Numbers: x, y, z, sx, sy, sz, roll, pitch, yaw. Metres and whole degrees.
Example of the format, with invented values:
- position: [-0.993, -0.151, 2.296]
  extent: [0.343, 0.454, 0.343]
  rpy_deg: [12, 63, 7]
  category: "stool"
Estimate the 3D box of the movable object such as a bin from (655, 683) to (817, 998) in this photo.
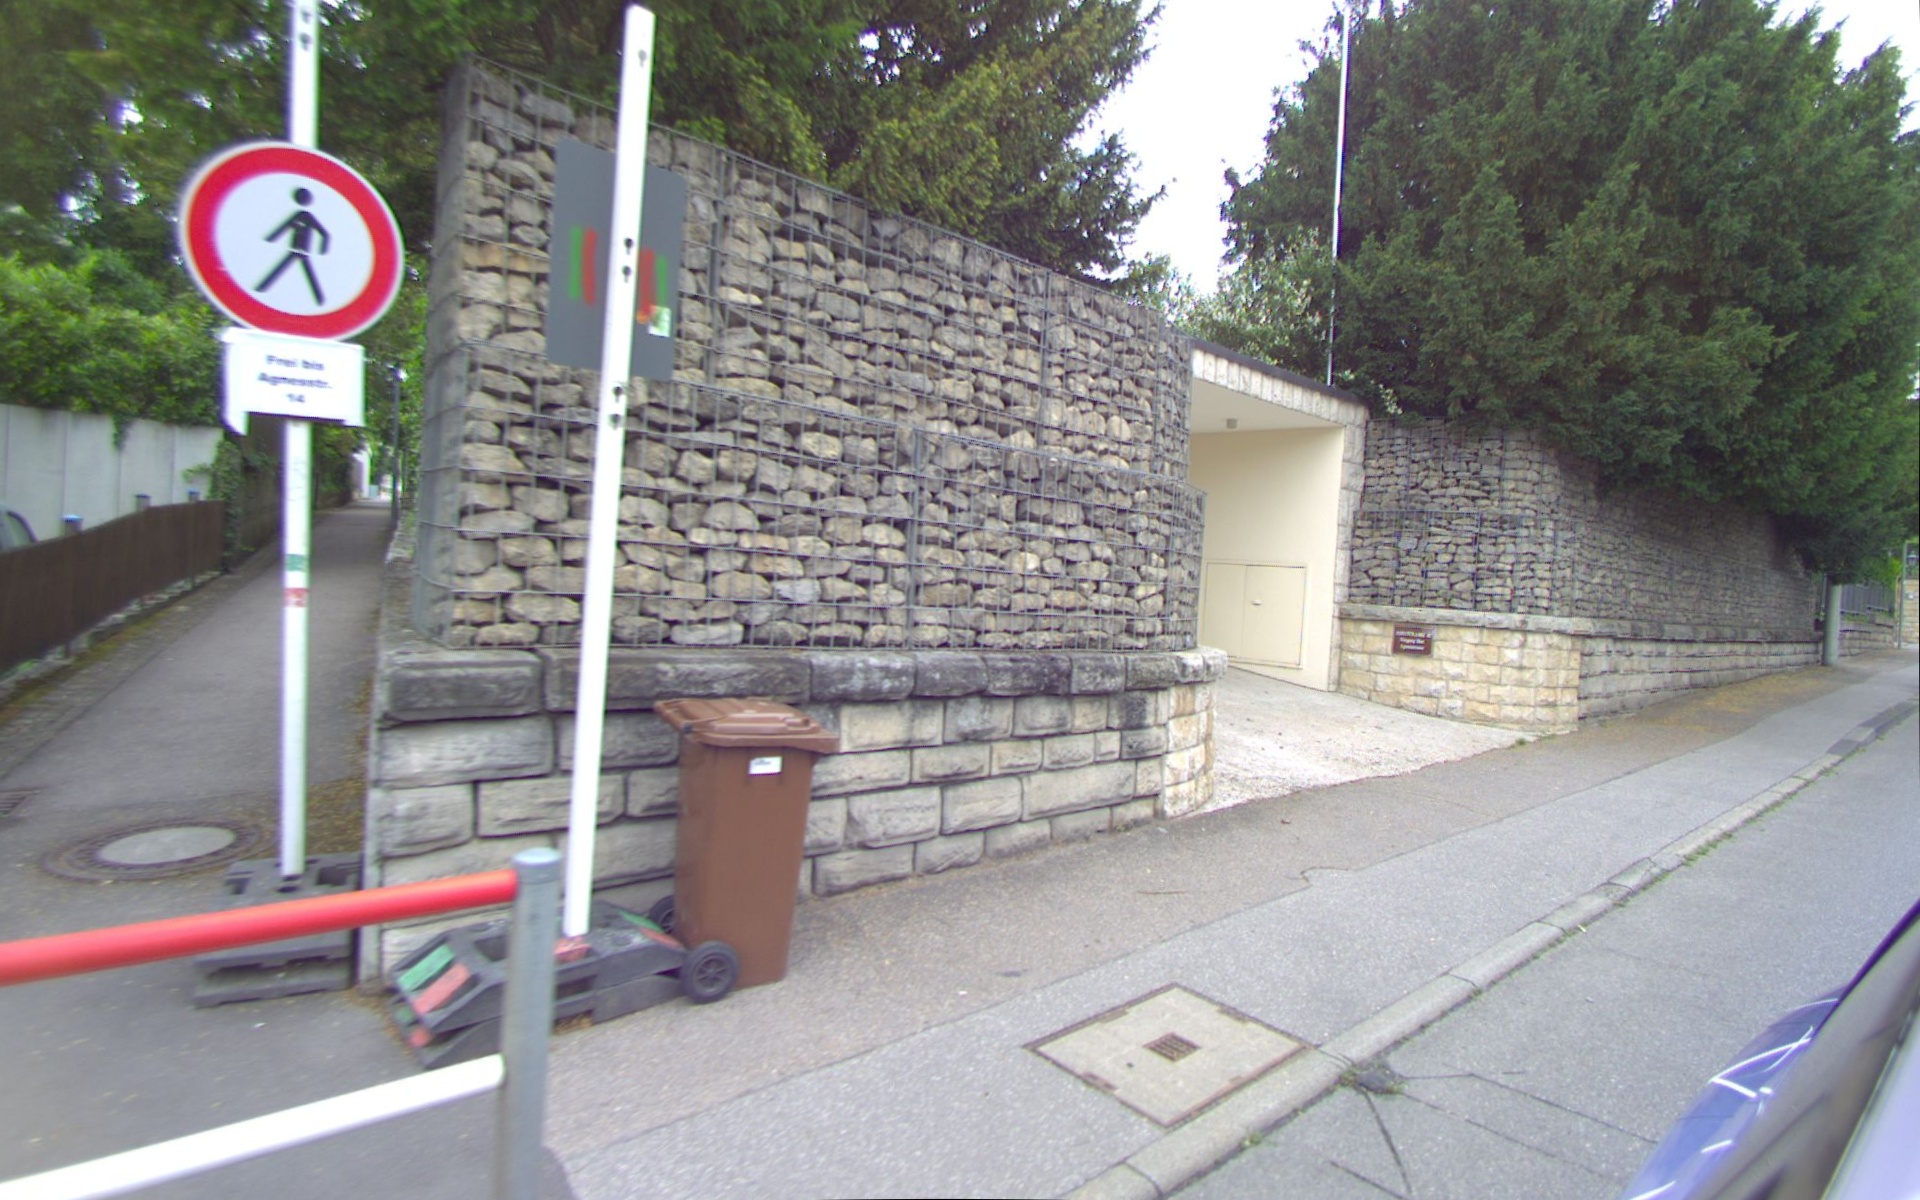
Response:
- position: [-0.779, 0.788, 3.479]
  extent: [0.386, 0.920, 0.447]
  rpy_deg: [1, 5, -32]
  category: "movable object such as a bin"

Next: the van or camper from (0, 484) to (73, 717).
- position: [-8.411, -0.018, 7.809]
  extent: [1.756, 1.768, 4.003]
  rpy_deg: [0, 1, -33]
  category: "van or camper"
